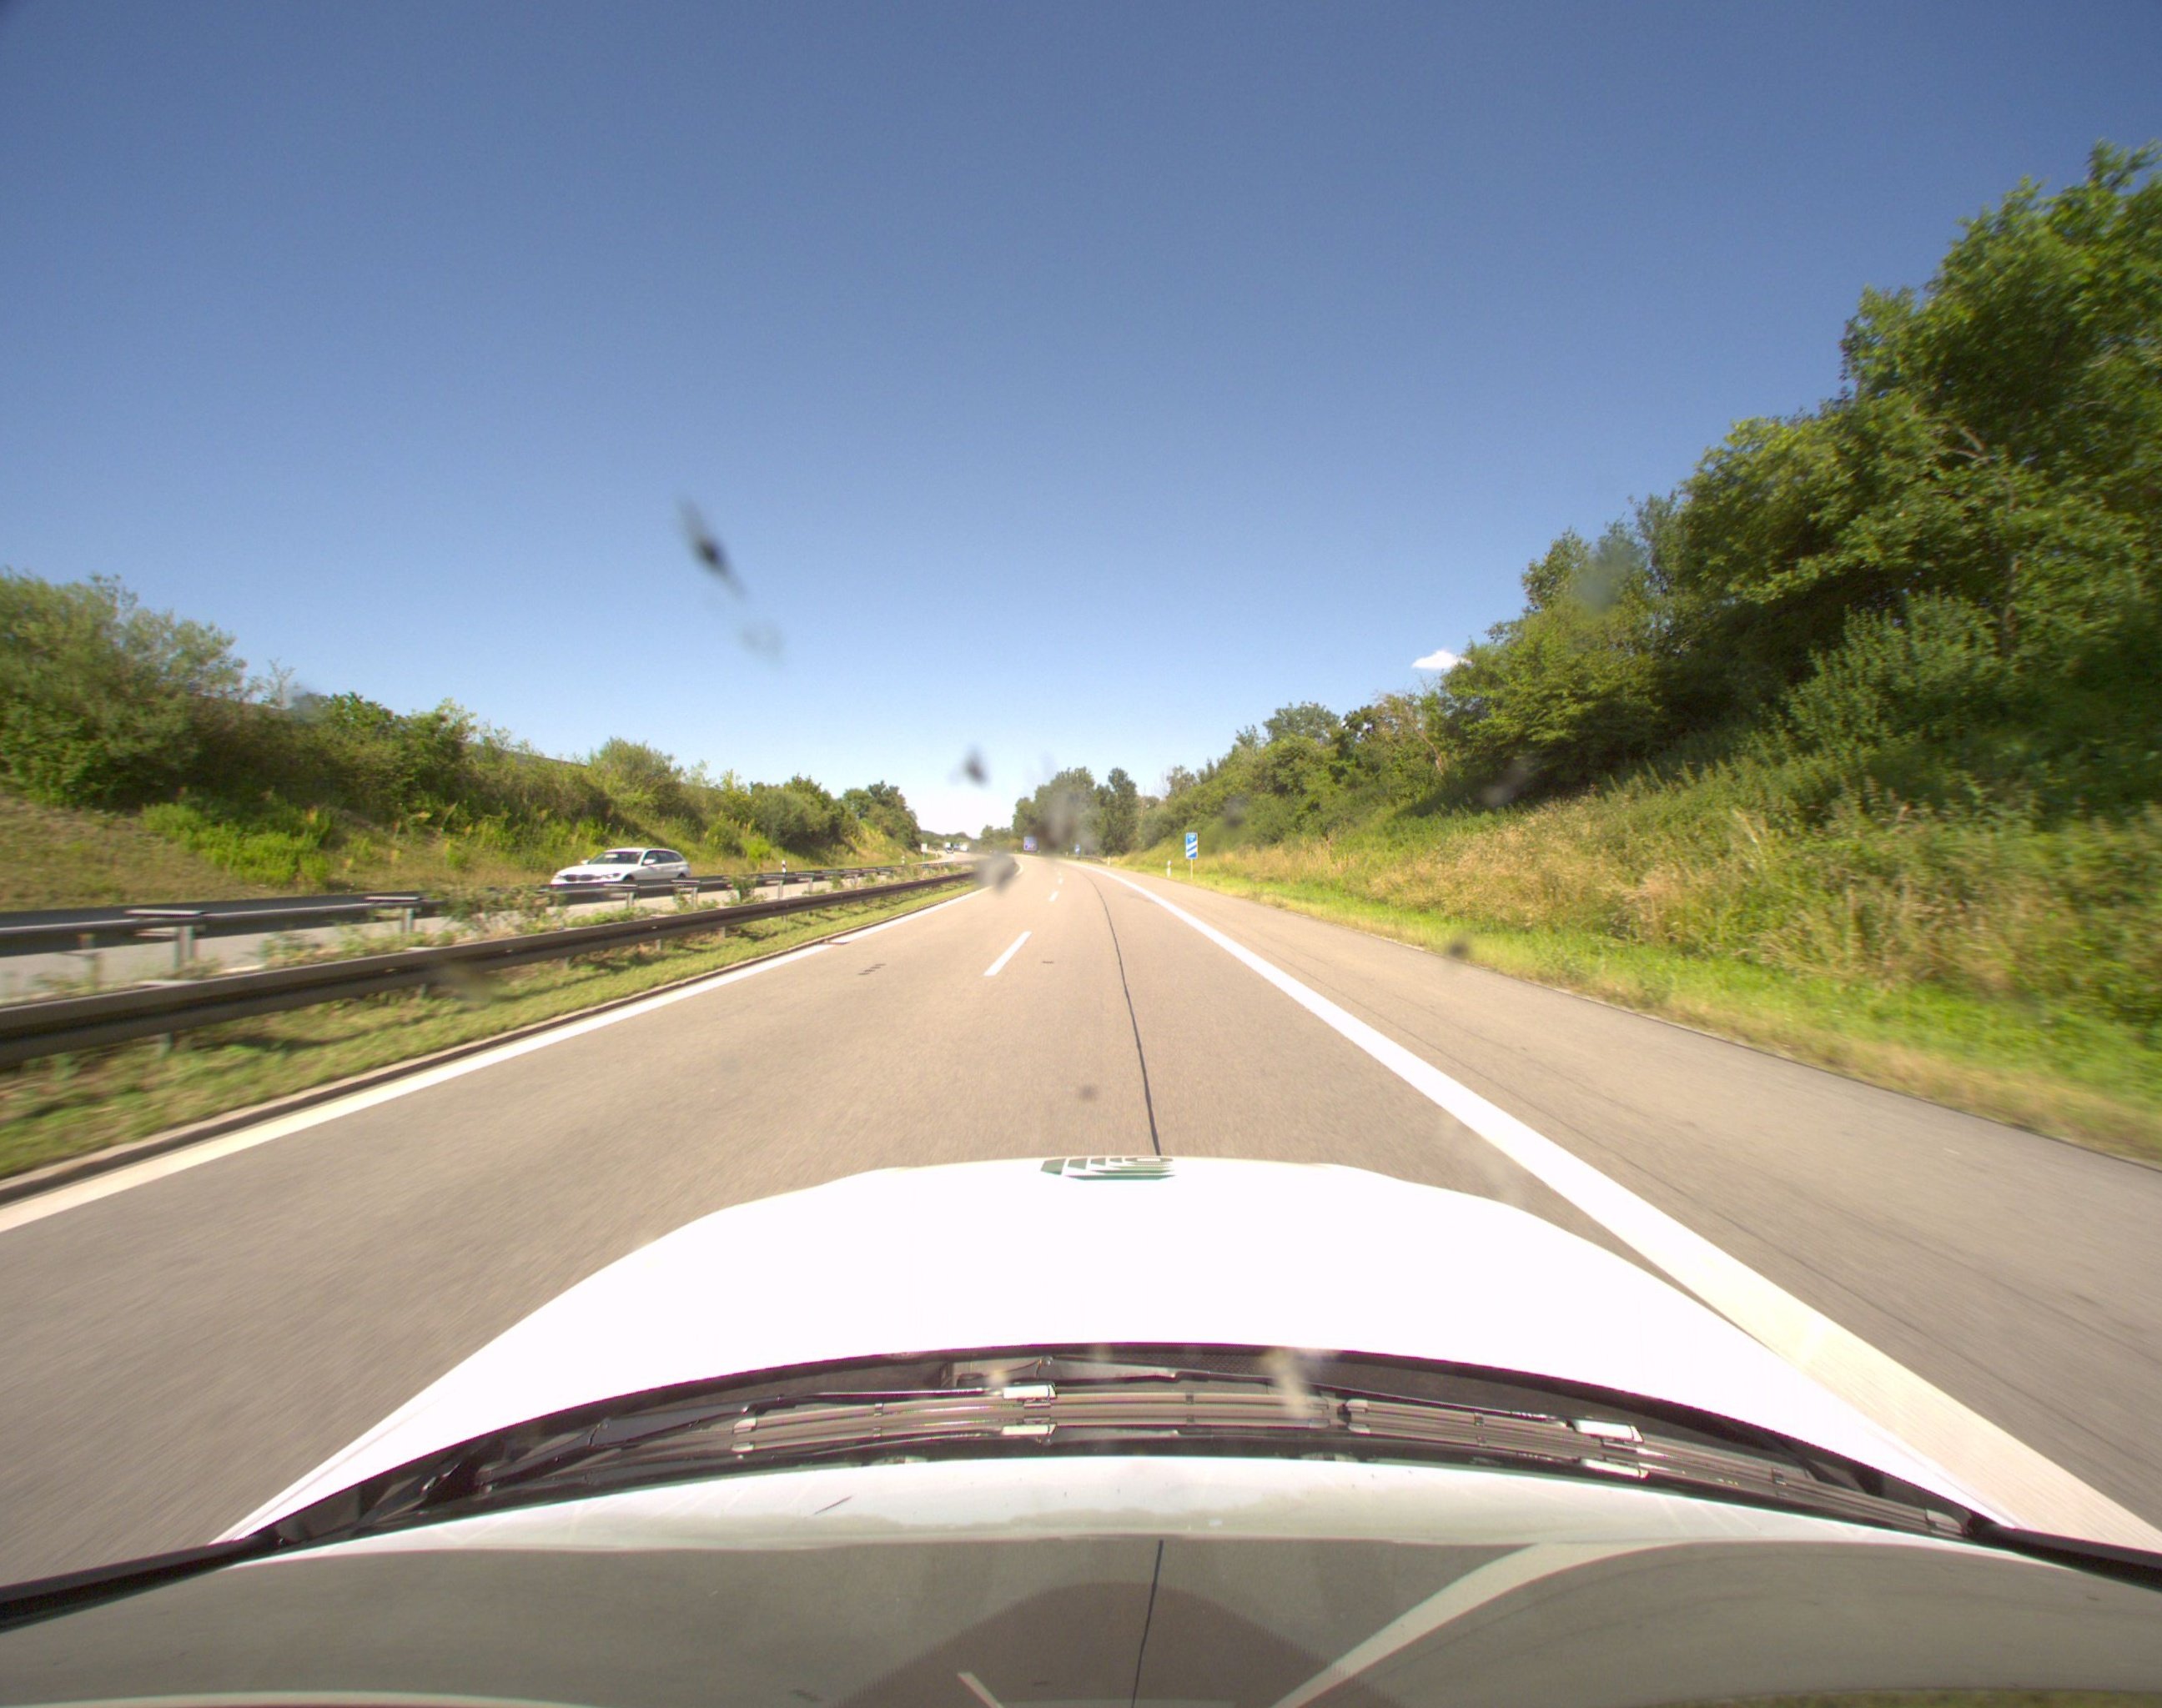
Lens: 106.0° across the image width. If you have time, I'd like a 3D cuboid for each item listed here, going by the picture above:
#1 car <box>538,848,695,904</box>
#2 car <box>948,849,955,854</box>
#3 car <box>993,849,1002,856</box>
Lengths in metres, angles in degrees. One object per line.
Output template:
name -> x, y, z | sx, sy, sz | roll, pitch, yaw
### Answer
car -> -13.087, 0.552, 23.302 | 1.893, 1.422, 4.398 | -1, 0, 1
car -> -38.255, -0.645, 240.181 | 1.817, 1.480, 4.674 | 0, 0, -7
car -> -22.399, -0.456, 217.734 | 2.062, 1.625, 3.985 | 1, -2, -10
